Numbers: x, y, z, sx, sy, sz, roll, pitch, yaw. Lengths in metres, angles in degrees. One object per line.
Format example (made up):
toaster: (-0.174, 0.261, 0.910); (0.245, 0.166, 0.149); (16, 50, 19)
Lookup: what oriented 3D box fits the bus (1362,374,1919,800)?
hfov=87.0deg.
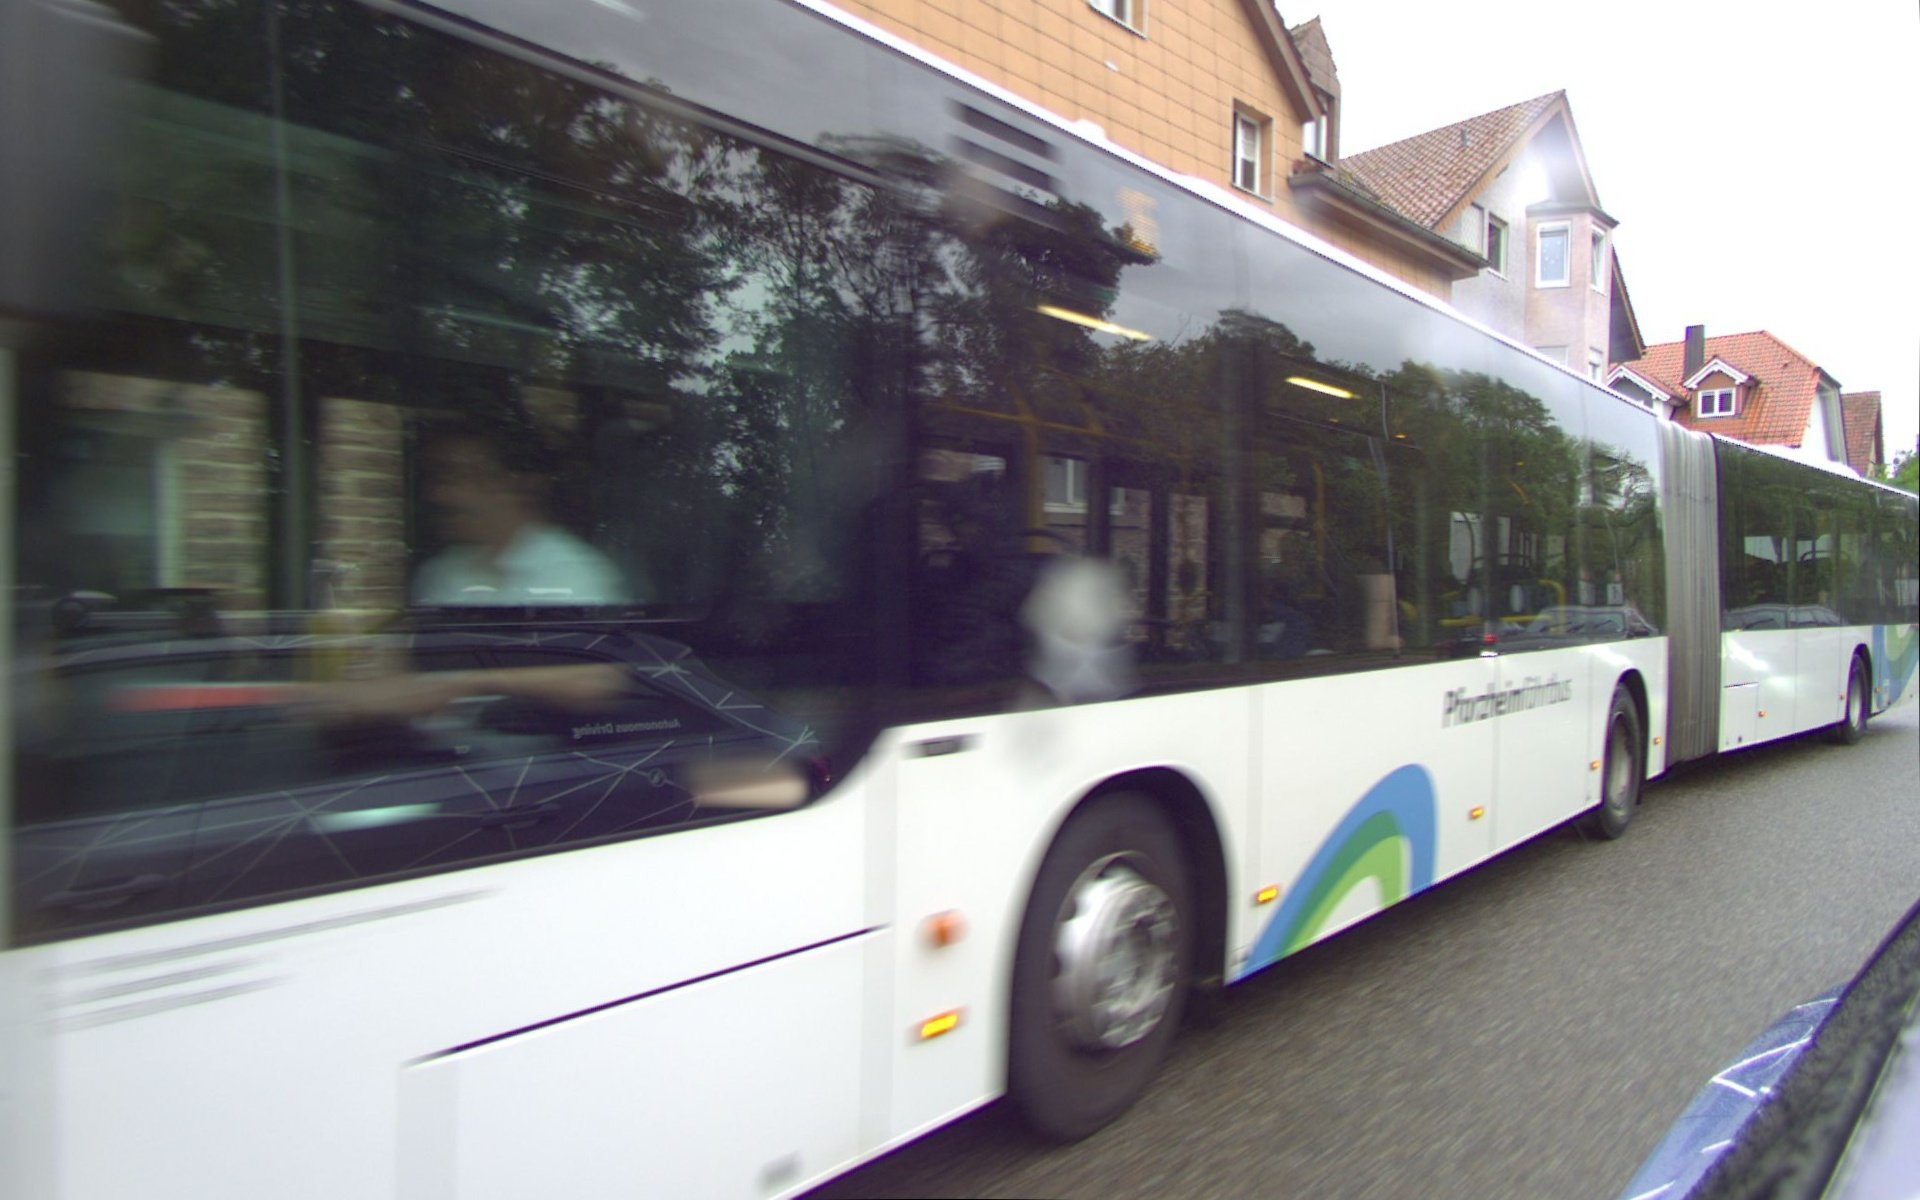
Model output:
bus: (7.776, -0.110, 10.690); (8.398, 2.996, 2.563); (0, 1, -37)

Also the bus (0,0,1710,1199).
bus: (1.173, -0.105, 5.123); (9.290, 2.996, 2.559); (0, 1, -43)
